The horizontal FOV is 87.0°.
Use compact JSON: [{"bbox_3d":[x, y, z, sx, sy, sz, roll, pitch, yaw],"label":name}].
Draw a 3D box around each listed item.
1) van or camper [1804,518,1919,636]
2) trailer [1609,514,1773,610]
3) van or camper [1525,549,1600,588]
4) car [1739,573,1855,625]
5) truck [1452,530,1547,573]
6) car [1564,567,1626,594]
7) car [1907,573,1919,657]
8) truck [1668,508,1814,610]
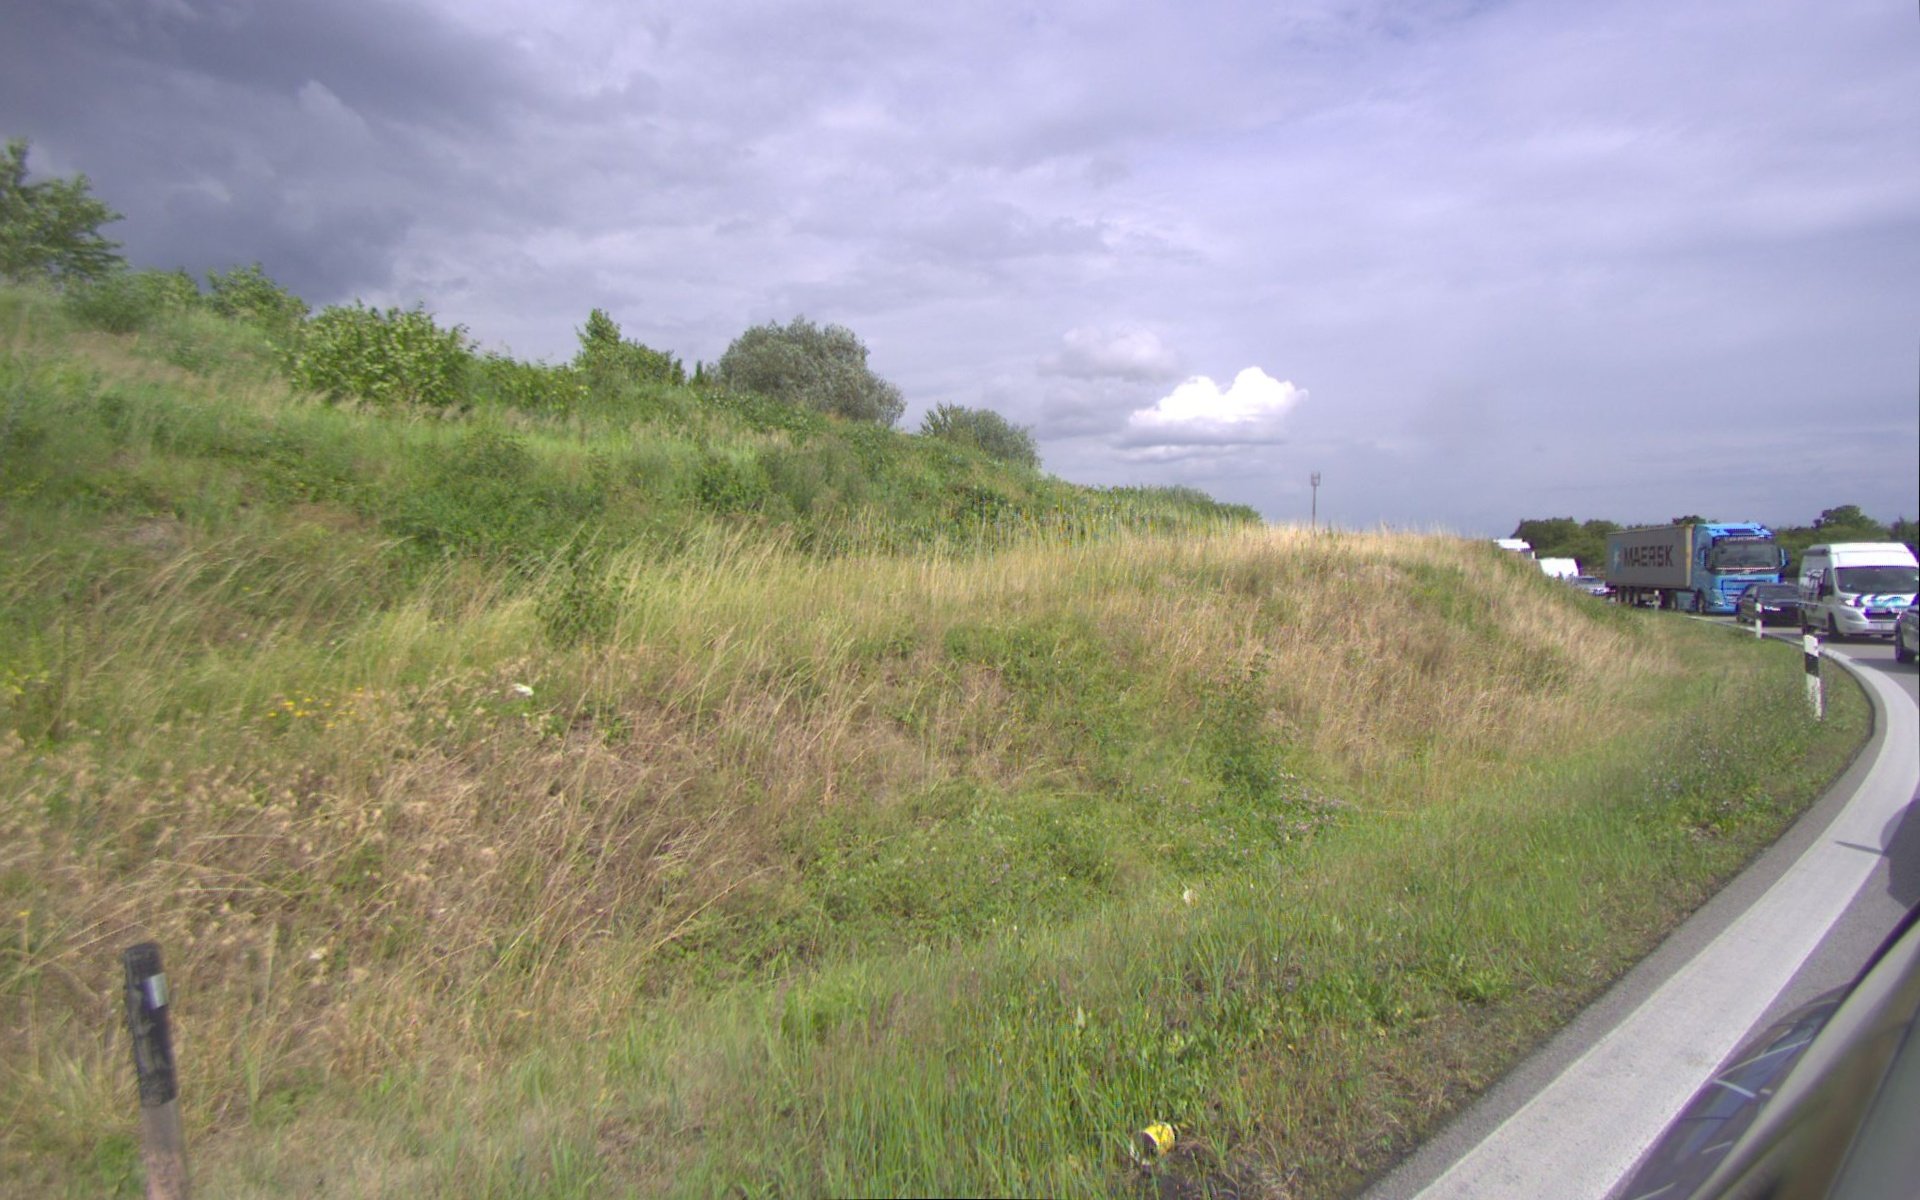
[{"bbox_3d":[25.186,-0.616,27.838,2.383,2.945,5.652,0,1,34],"label":"van or camper"},{"bbox_3d":[36.289,-1.774,50.944,3.233,4.213,11.945,-1,1,19],"label":"trailer"},{"bbox_3d":[40.564,-2.166,68.346,2.513,2.237,5.698,-1,4,11],"label":"van or camper"},{"bbox_3d":[29.174,-0.090,35.431,1.977,1.637,3.971,1,2,23],"label":"car"},{"bbox_3d":[43.670,-3.849,82.420,3.073,3.279,11.139,0,2,8],"label":"truck"},{"bbox_3d":[39.167,-1.231,62.505,1.969,1.548,3.987,0,3,12],"label":"car"},{"bbox_3d":[18.999,0.323,18.597,1.833,1.615,4.119,2,2,37],"label":"car"},{"bbox_3d":[34.137,-1.709,44.561,3.140,4.124,6.604,-1,1,20],"label":"truck"}]
